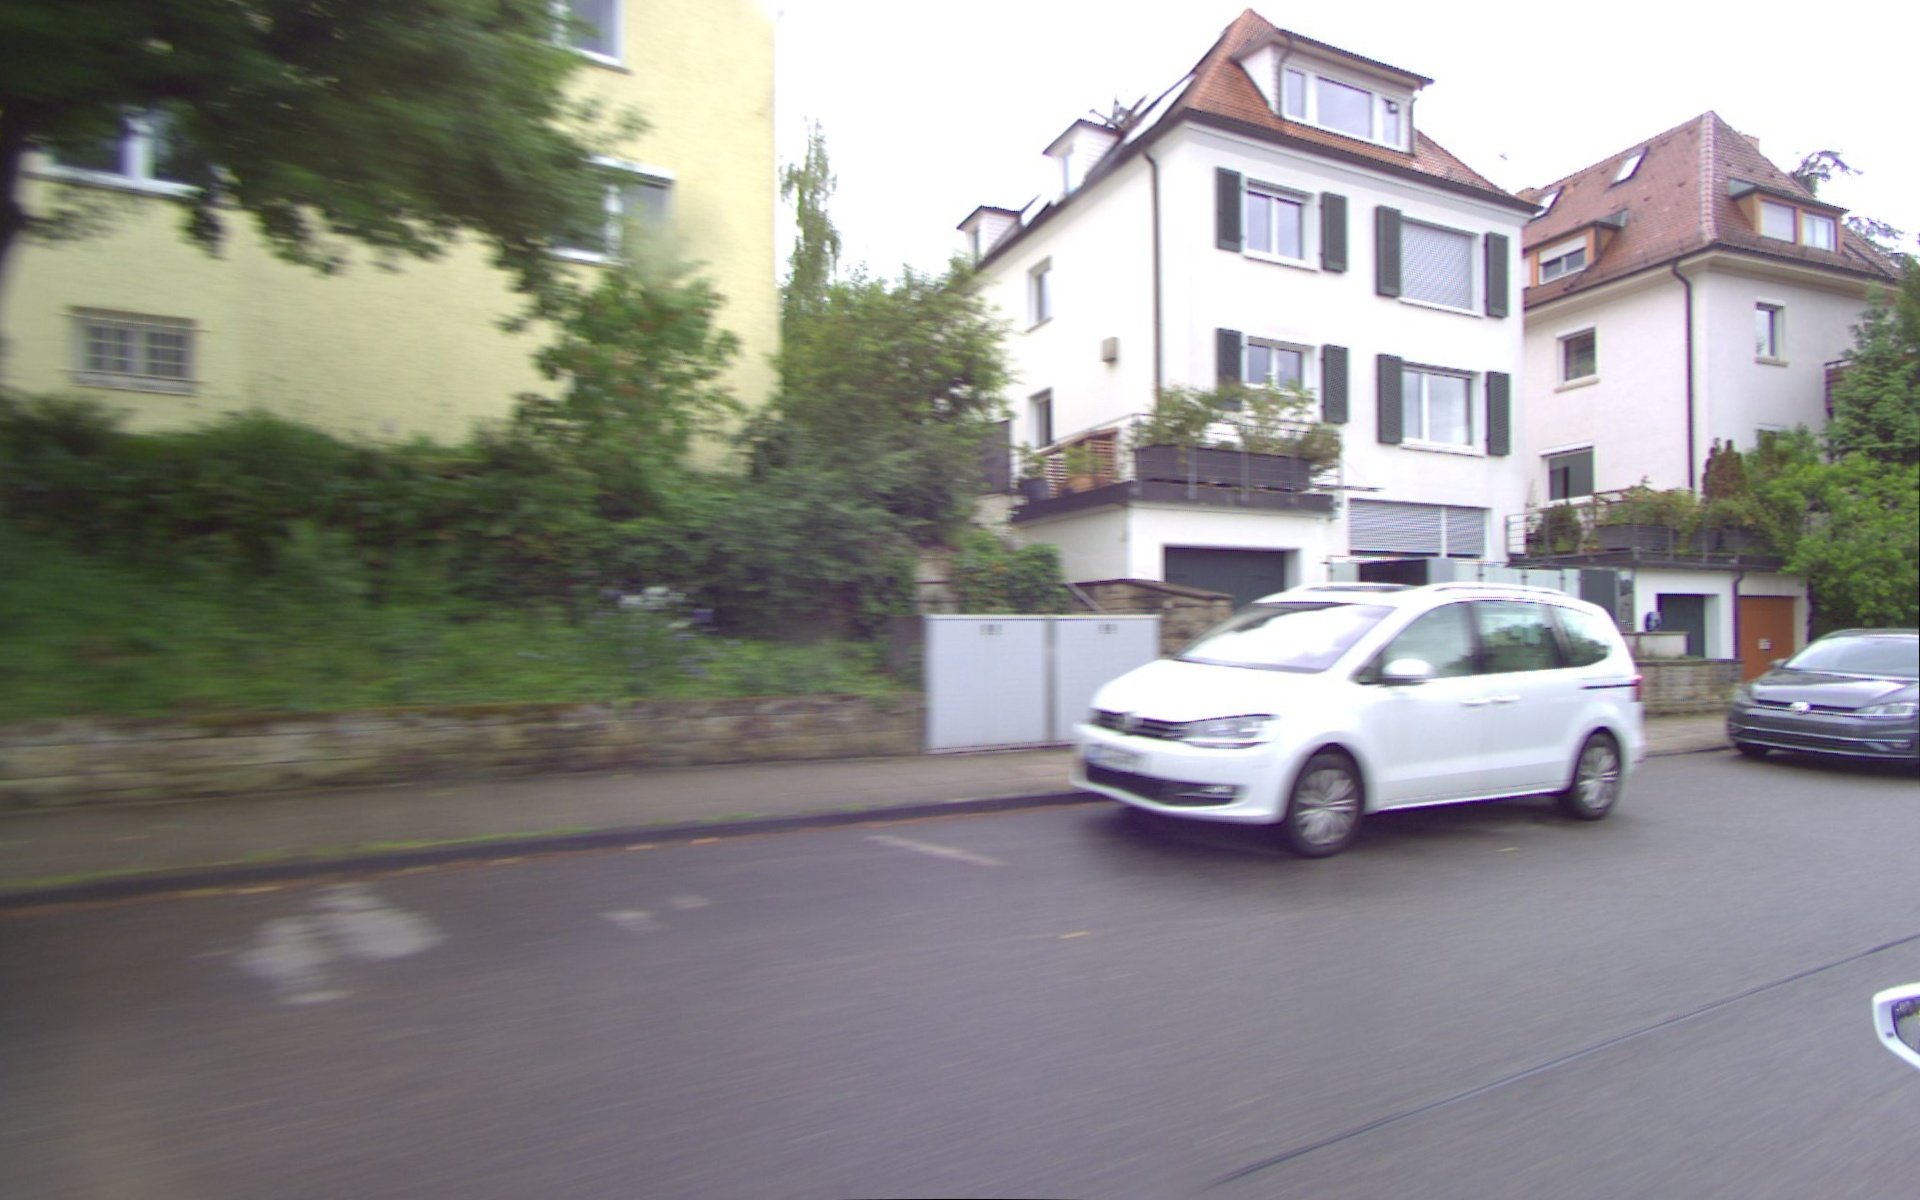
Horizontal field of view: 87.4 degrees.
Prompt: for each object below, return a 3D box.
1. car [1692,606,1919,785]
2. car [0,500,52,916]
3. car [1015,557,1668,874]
[{"bbox_3d":[10.279,0.926,11.149,4.084,1.602,1.785,1,2,-27],"label":"car"},{"bbox_3d":[-5.560,0.411,2.397,4.707,1.602,1.983,0,2,-32],"label":"car"},{"bbox_3d":[2.924,0.613,7.470,4.681,1.725,1.984,1,2,-30],"label":"car"}]
